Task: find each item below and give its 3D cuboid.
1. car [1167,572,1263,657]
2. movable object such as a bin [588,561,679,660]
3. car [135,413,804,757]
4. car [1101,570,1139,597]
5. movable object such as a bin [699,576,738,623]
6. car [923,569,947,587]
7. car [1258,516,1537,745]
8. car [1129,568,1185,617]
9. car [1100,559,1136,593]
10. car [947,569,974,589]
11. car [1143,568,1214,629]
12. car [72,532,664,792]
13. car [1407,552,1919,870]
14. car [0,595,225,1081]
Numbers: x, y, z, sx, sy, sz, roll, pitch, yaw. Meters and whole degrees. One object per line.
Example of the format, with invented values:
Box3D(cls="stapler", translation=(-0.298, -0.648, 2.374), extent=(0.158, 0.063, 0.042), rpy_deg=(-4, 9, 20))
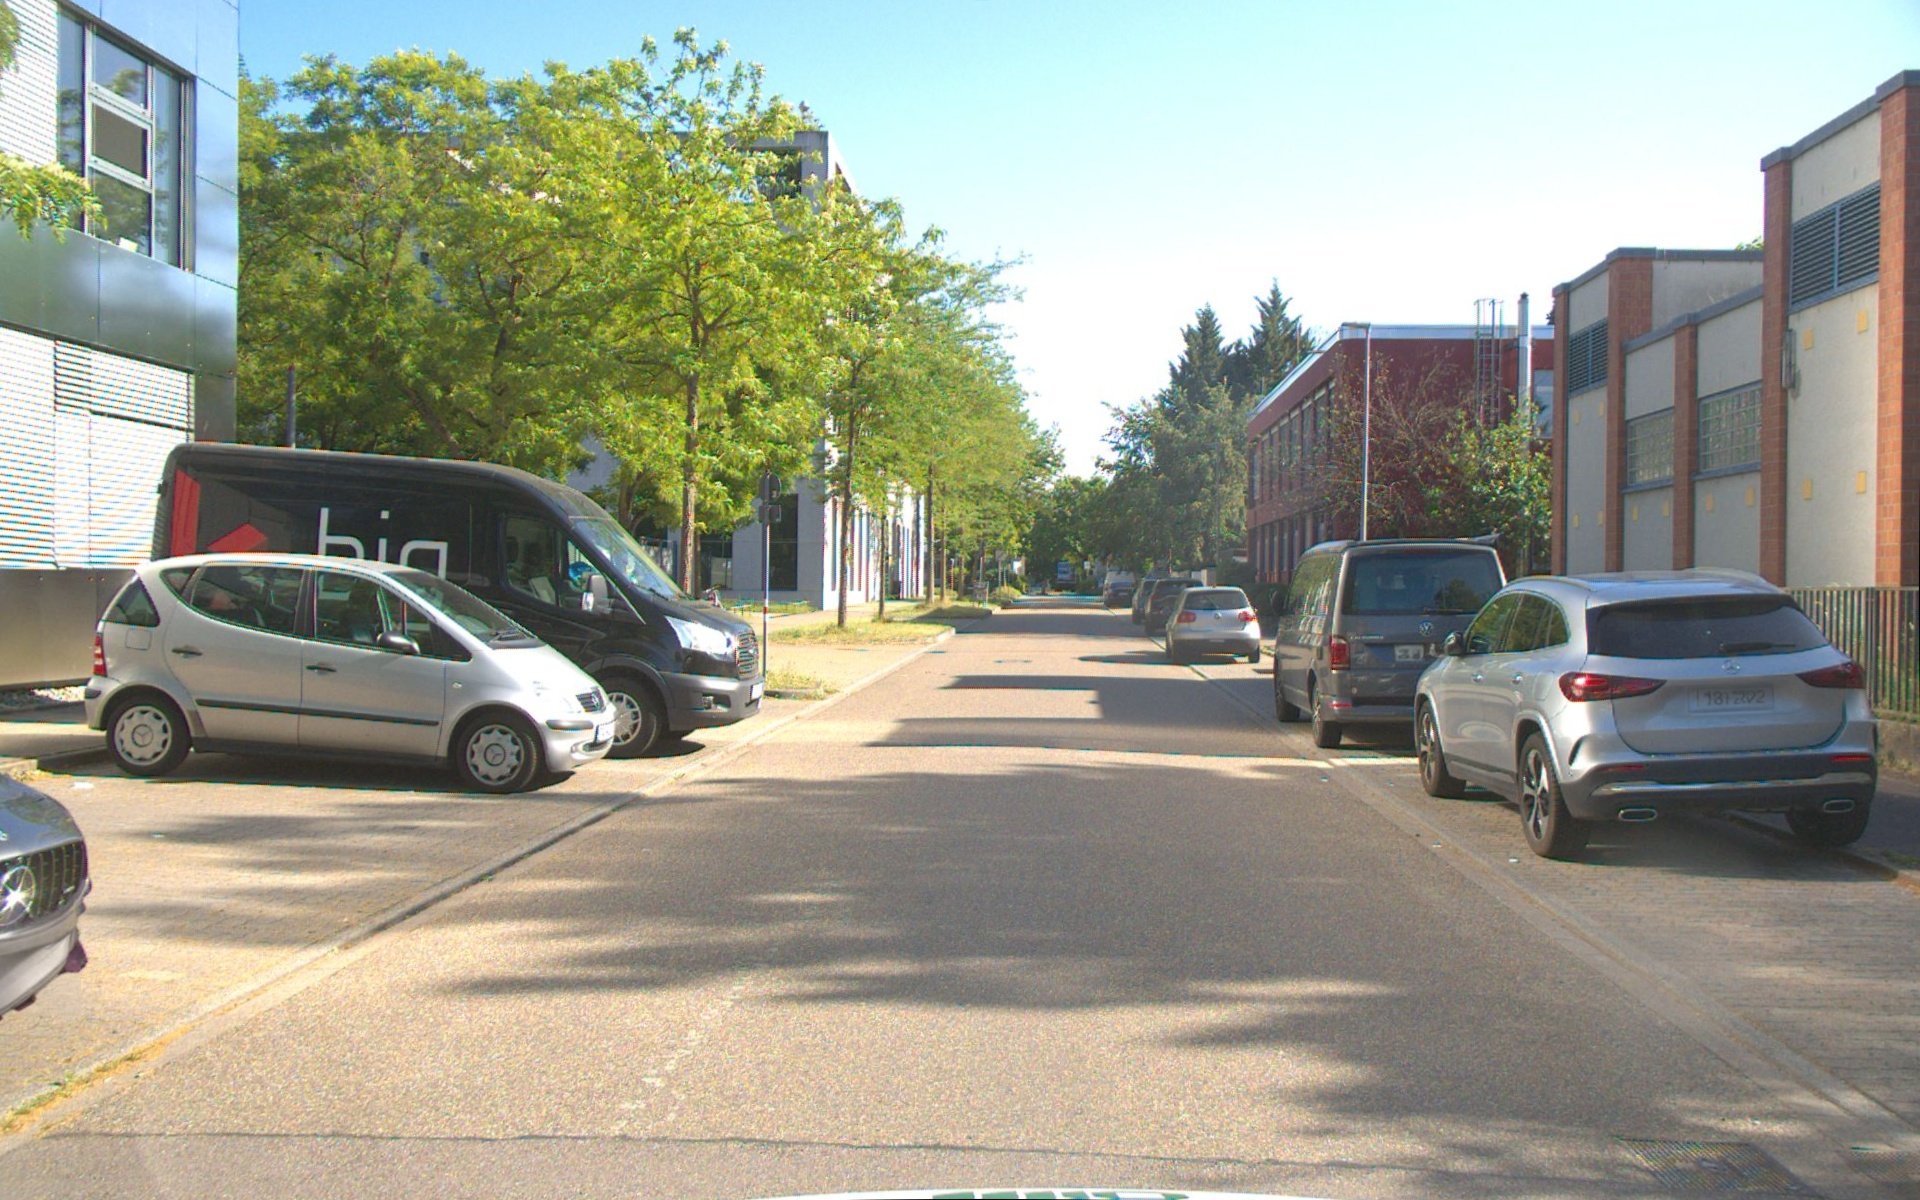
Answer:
Box3D(cls="car", translation=(5.099, 0.241, 33.462), extent=(1.625, 1.588, 3.937), rpy_deg=(1, 1, 4))
Box3D(cls="movable object such as a bin", translation=(-4.861, 0.145, 24.581), extent=(1.271, 1.438, 1.223), rpy_deg=(0, 1, -14))
Box3D(cls="car", translation=(-4.319, -0.149, 15.220), extent=(5.341, 2.668, 2.232), rpy_deg=(3, 0, 3))
Box3D(cls="car", translation=(8.838, -0.903, 91.584), extent=(1.951, 1.467, 4.002), rpy_deg=(1, 1, 4))
Box3D(cls="movable object such as a bin", translation=(-6.412, -0.035, 43.997), extent=(0.649, 1.202, 1.936), rpy_deg=(0, 1, 4))
Box3D(cls="car", translation=(-2.010, -1.810, 134.618), extent=(1.866, 1.365, 3.794), rpy_deg=(0, 1, 1))
Box3D(cls="car", translation=(4.412, 0.259, 17.475), extent=(1.903, 2.057, 4.828), rpy_deg=(-1, 0, 3))
Box3D(cls="car", translation=(6.972, -0.297, 58.898), extent=(1.816, 1.677, 4.003), rpy_deg=(0, 1, 4))
Box3D(cls="car", translation=(9.313, -1.432, 97.582), extent=(1.952, 1.866, 4.003), rpy_deg=(-3, 1, 4))
Box3D(cls="car", translation=(0.080, -1.577, 123.932), extent=(1.952, 1.483, 3.793), rpy_deg=(1, 1, 1))
Box3D(cls="car", translation=(6.285, -0.080, 47.893), extent=(1.799, 1.662, 4.204), rpy_deg=(1, 1, 5))
Box3D(cls="car", translation=(-4.359, 0.426, 12.619), extent=(3.752, 1.674, 1.893), rpy_deg=(2, 0, 2))
Box3D(cls="car", translation=(4.321, 0.574, 10.904), extent=(1.787, 1.657, 4.295), rpy_deg=(-1, 0, 3))
Box3D(cls="car", translation=(-4.976, 0.605, 5.194), extent=(4.440, 1.374, 1.893), rpy_deg=(3, 1, 3))
